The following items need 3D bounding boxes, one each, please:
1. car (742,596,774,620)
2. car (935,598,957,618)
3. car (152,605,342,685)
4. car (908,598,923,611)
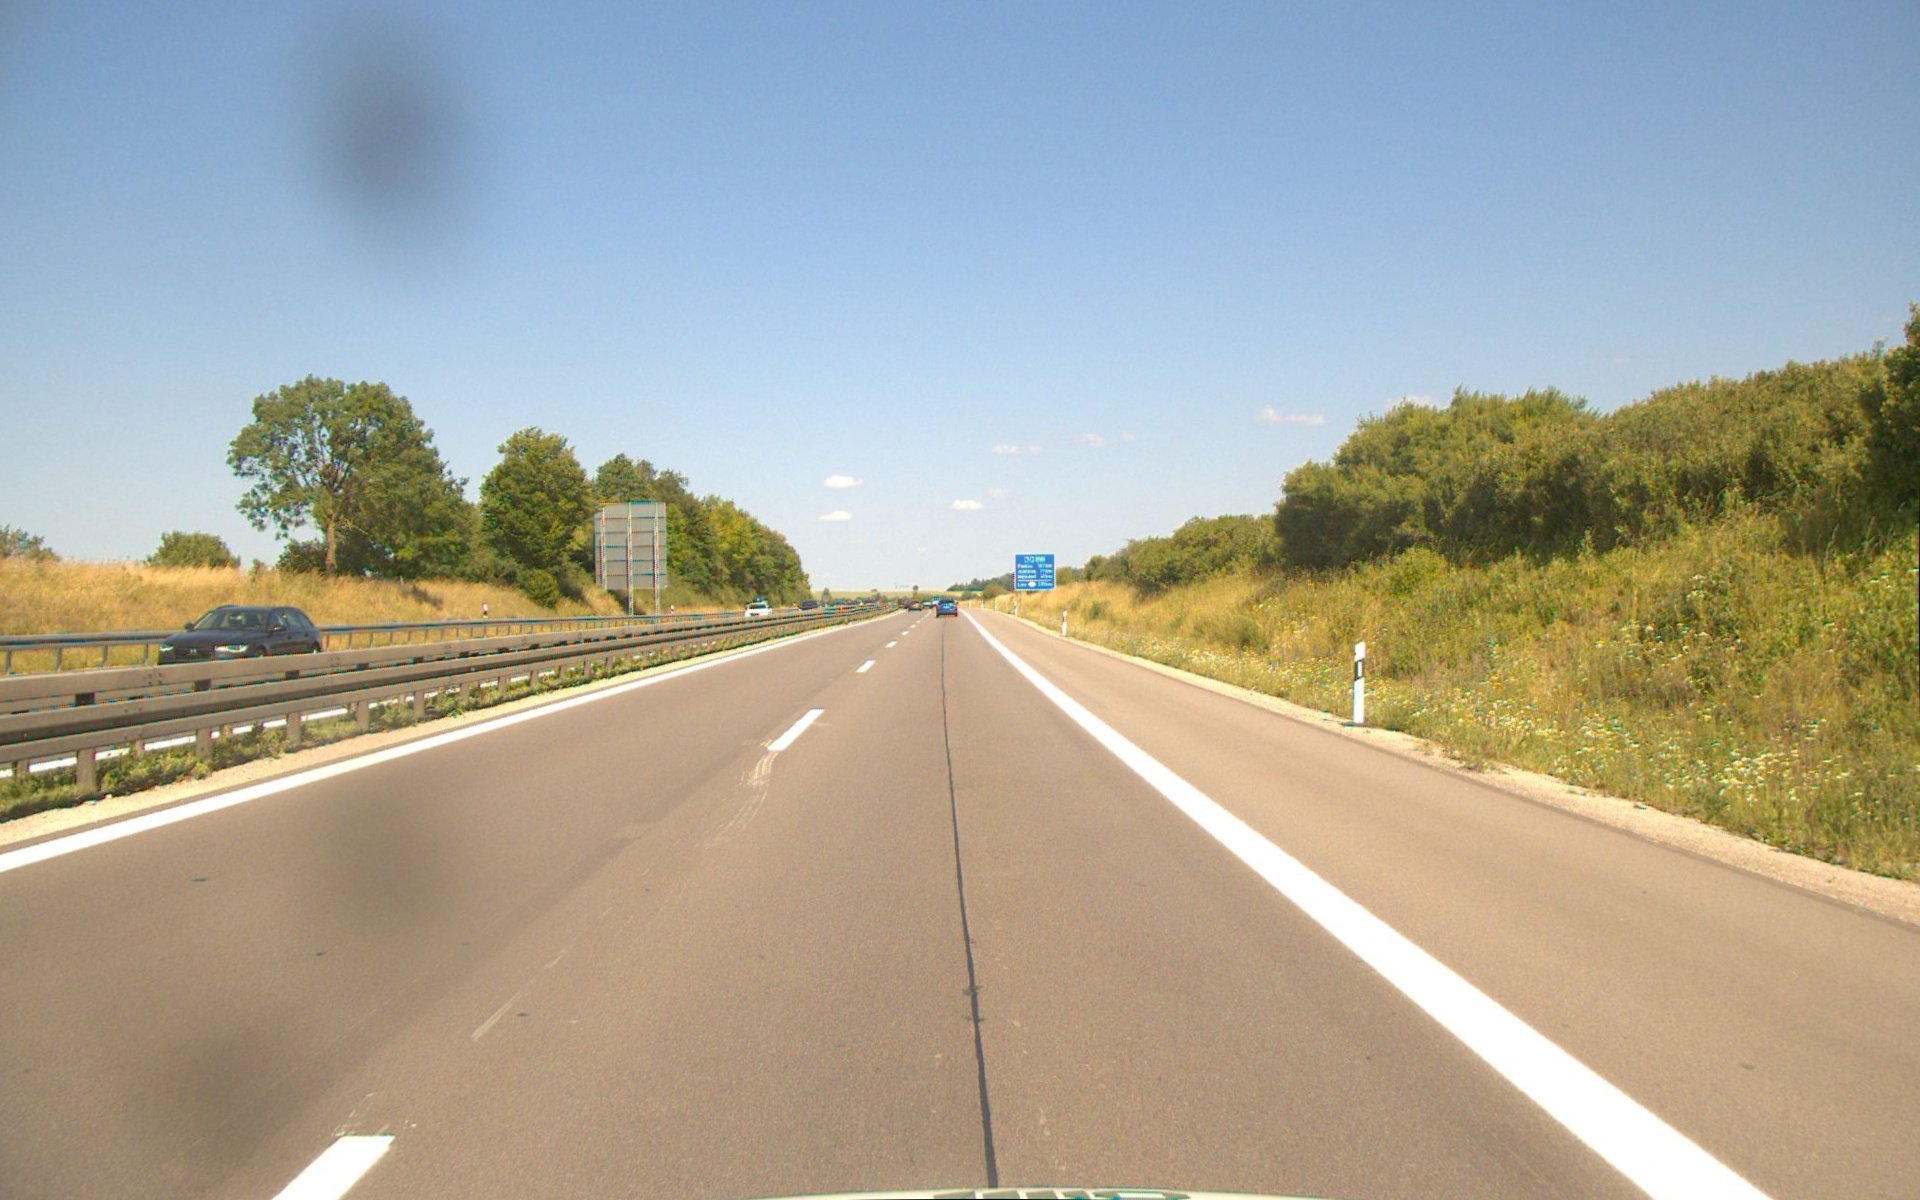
[{"bbox_3d":[-15.962,0.612,130.816,1.905,1.877,5.183,-1,0,0],"label":"car"},{"bbox_3d":[-1.114,0.623,130.731,1.641,1.478,3.592,-2,0,1],"label":"car"},{"bbox_3d":[-14.510,0.858,34.027,1.689,1.493,5.240,0,0,-1],"label":"car"},{"bbox_3d":[-5.794,0.583,214.474,1.792,1.478,3.592,-2,0,0],"label":"car"}]
